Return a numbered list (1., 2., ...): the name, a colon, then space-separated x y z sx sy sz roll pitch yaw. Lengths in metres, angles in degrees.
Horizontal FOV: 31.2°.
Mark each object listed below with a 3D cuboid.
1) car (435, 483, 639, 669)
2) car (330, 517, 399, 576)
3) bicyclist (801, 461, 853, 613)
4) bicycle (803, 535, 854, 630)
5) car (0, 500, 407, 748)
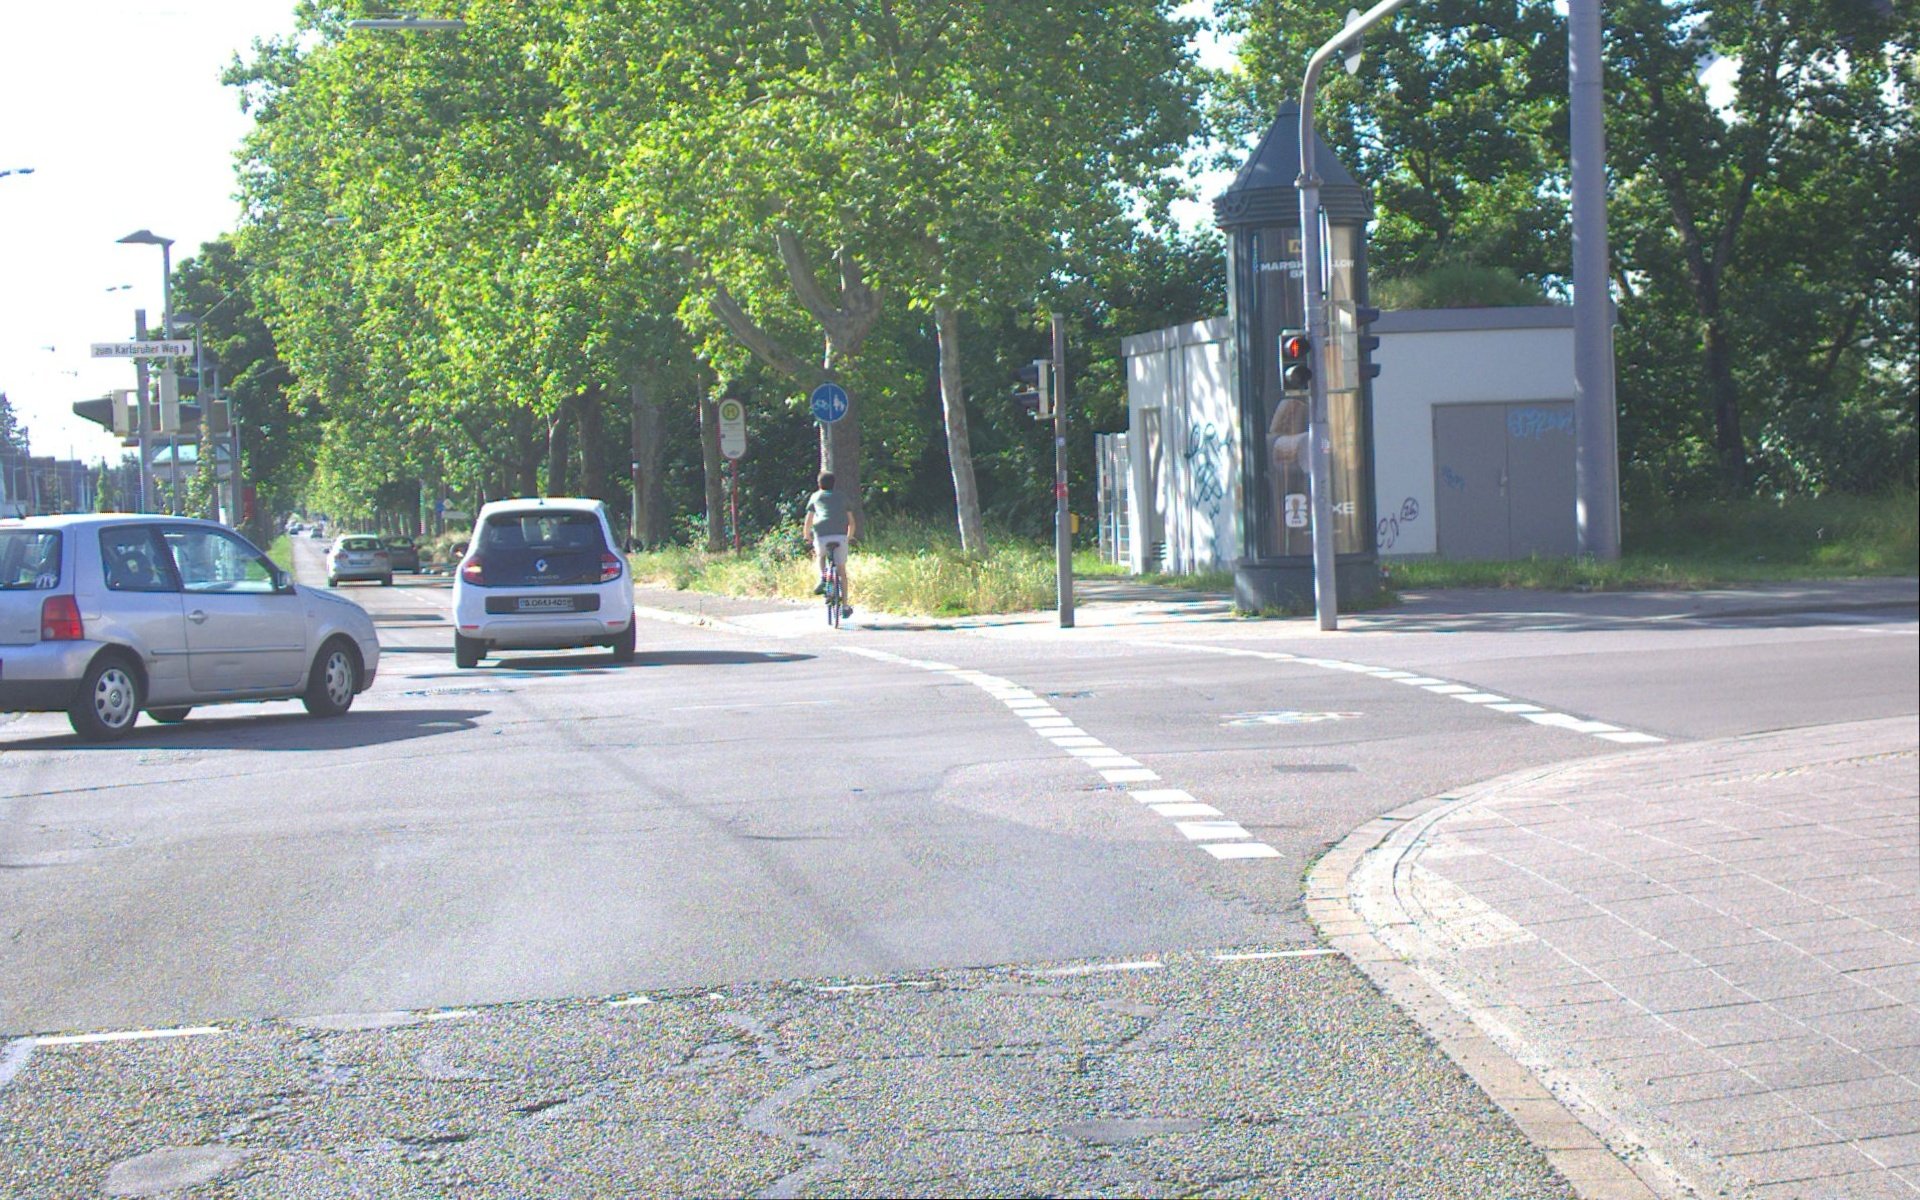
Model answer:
1. car: -3.985 -0.265 32.730 1.750 1.599 3.751 -2 2 -6
2. car: -17.123 -1.540 98.727 1.750 1.599 3.582 -3 2 -12
3. bicyclist: -1.572 -0.747 40.641 0.534 1.763 0.713 -2 2 -1
4. bicycle: -1.550 -0.214 40.565 0.536 1.062 1.434 -2 2 -1
5. car: -5.507 0.115 22.883 1.870 1.481 3.551 -1 1 26
